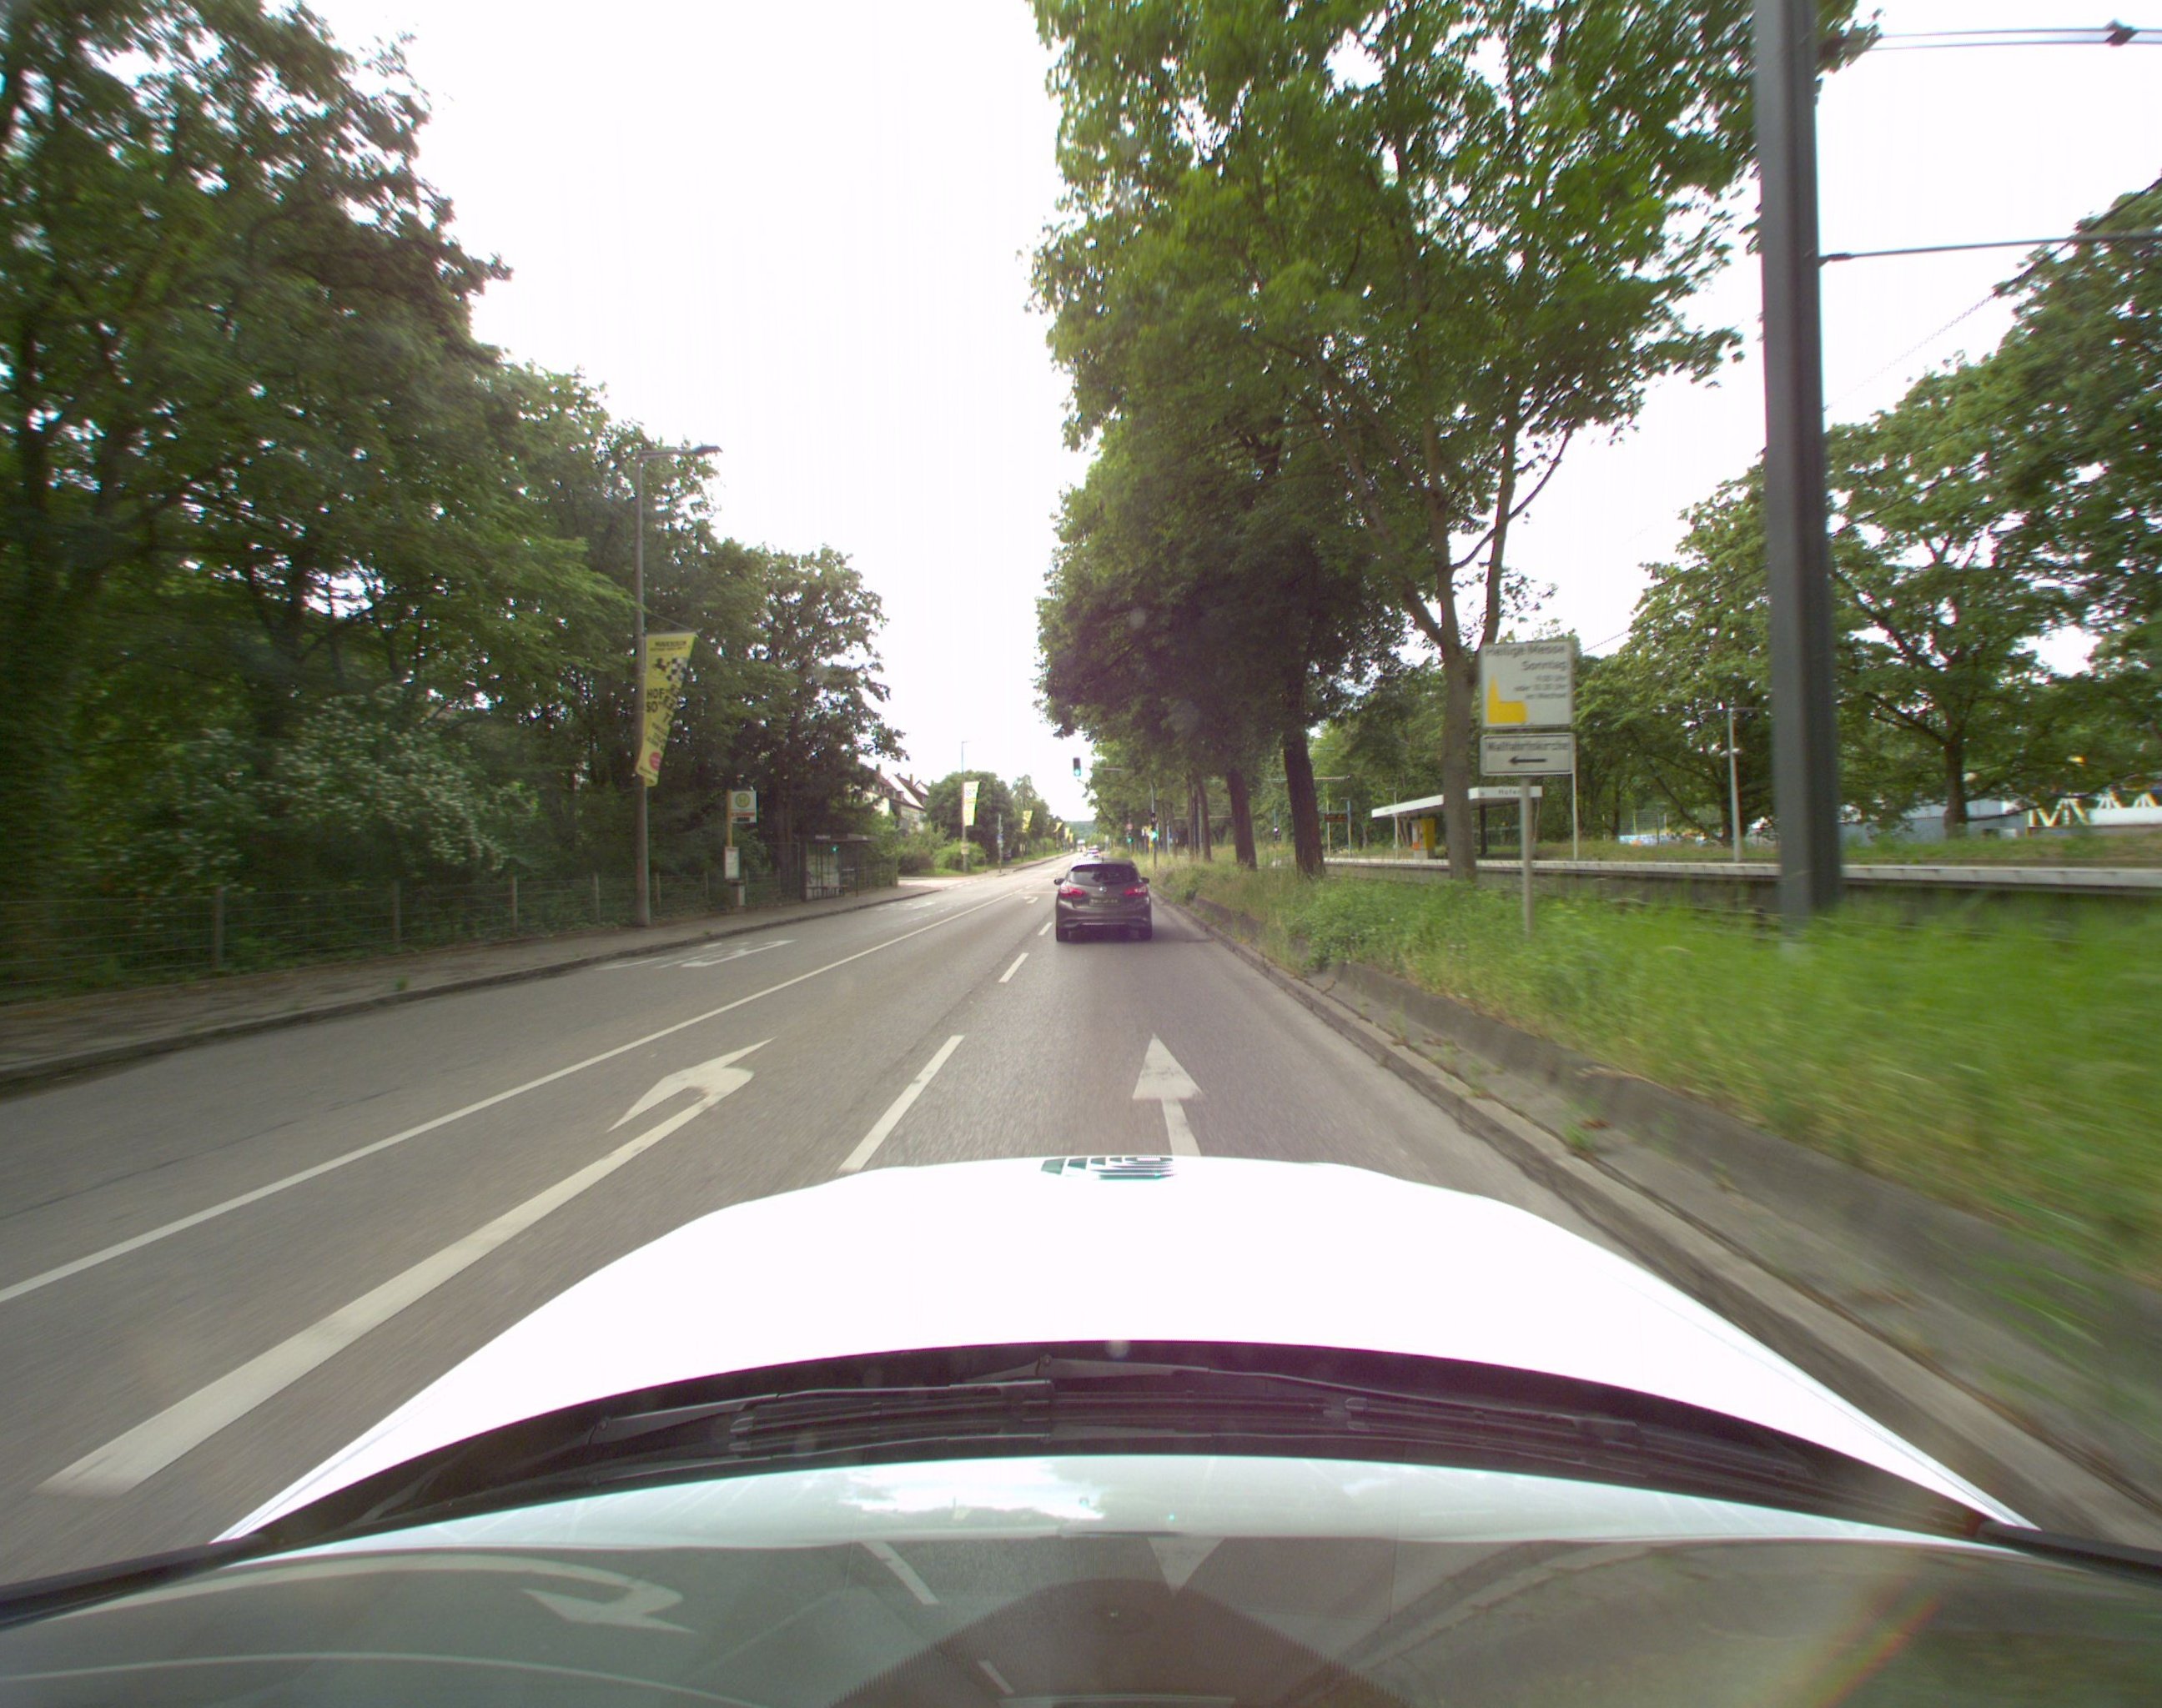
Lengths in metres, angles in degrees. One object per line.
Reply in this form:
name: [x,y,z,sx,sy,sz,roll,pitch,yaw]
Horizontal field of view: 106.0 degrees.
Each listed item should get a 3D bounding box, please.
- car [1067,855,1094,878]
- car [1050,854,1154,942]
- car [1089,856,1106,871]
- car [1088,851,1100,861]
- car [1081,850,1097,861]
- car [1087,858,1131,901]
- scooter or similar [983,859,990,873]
car: [0.021,0.812,54.151,1.685,1.441,3.542,-1,0,1]
car: [0.425,0.784,16.094,1.777,1.507,3.697,-1,0,2]
car: [1.691,0.978,82.871,1.685,1.441,3.542,-1,0,1]
car: [1.931,0.290,121.023,1.685,1.441,3.542,-1,0,1]
car: [1.057,0.178,103.574,1.986,1.321,4.001,1,-1,1]
car: [1.012,0.888,29.977,1.496,1.441,3.542,-1,0,1]
scooter or similar: [-8.410,1.045,72.517,0.460,1.259,1.427,-1,0,2]
